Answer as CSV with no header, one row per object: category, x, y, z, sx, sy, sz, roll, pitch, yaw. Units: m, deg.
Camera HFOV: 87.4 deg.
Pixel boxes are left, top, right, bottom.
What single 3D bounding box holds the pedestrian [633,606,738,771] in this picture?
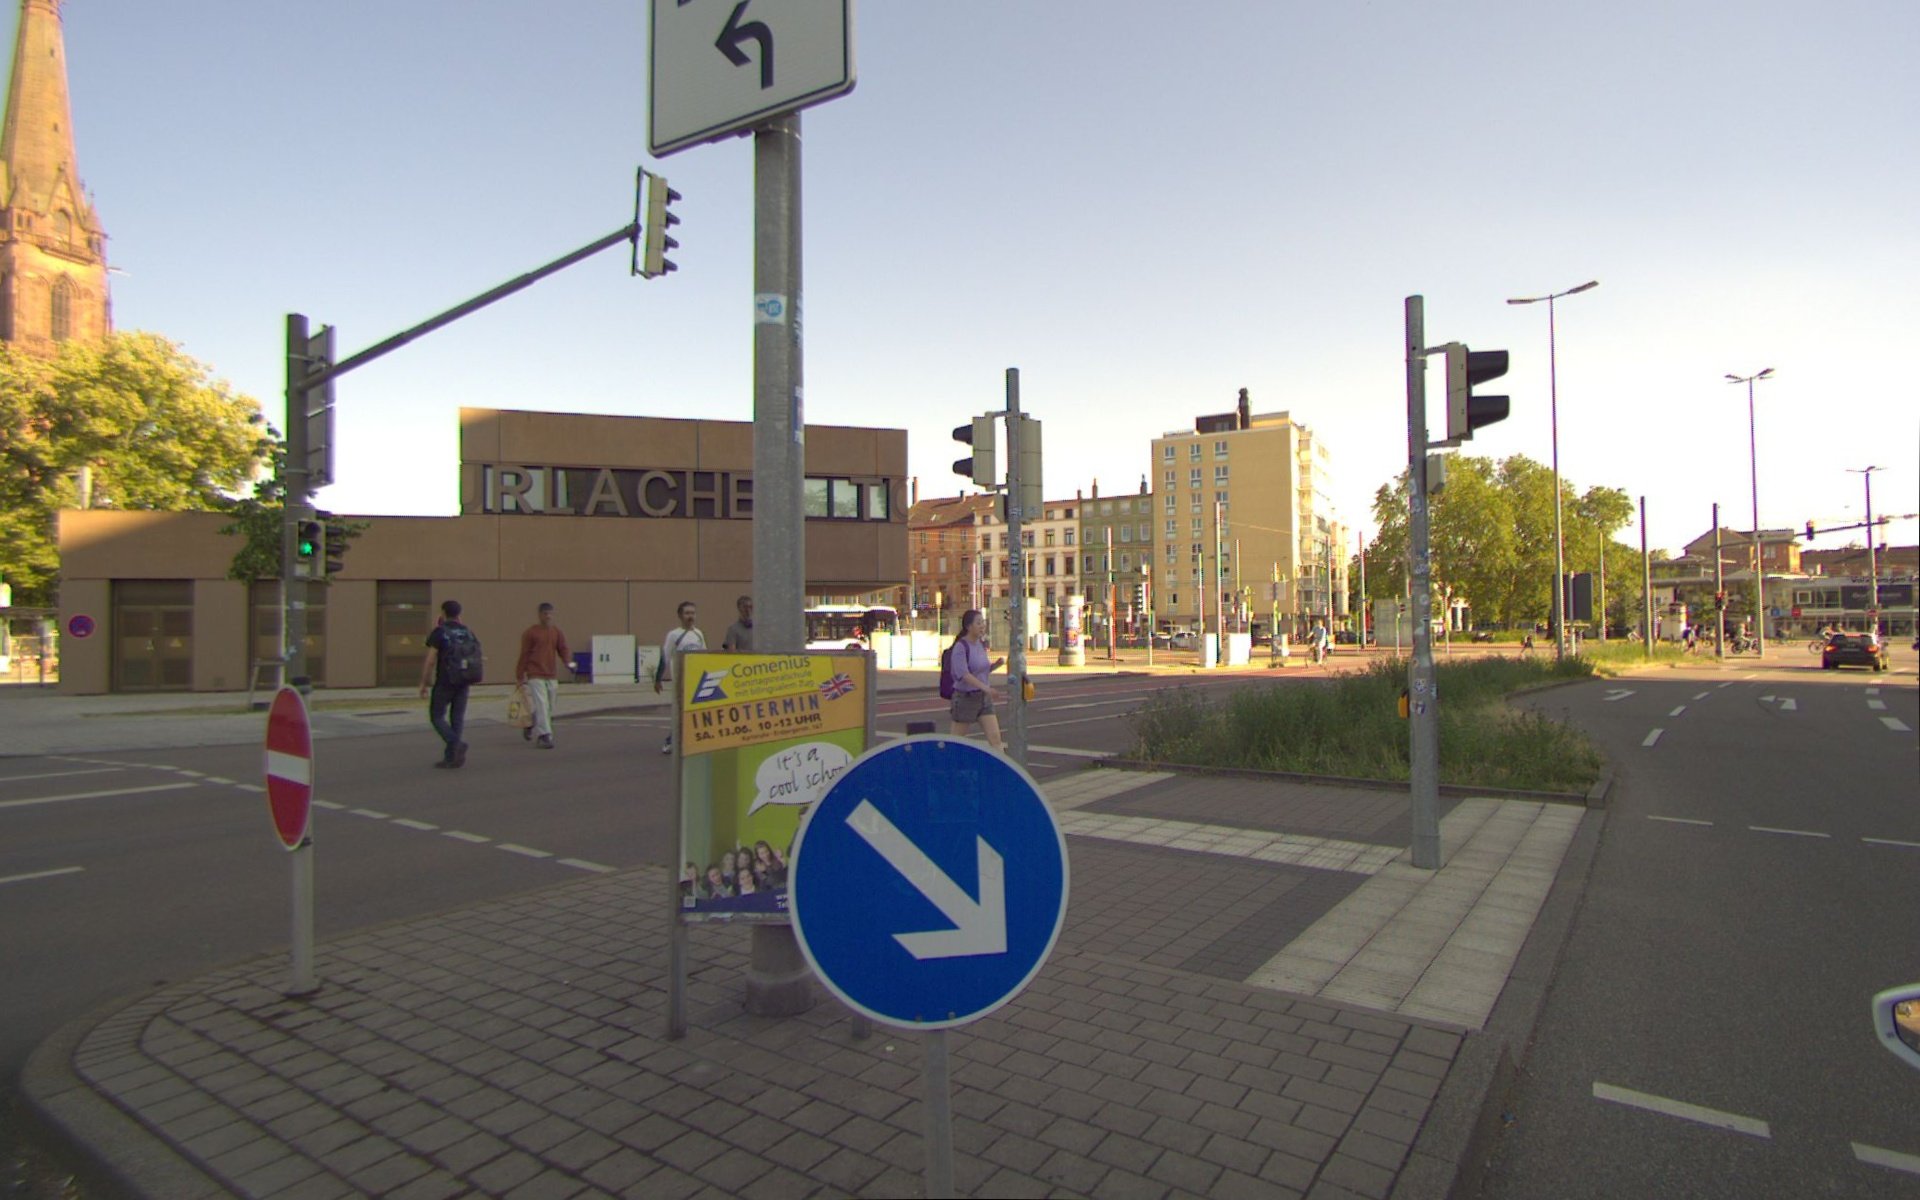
pedestrian,-3.102,0.969,11.343,0.913,1.764,0.754,-2,-2,37

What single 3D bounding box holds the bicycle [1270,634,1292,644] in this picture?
bicycle,33.660,4.087,105.282,2.012,1.104,0.776,-2,-2,29

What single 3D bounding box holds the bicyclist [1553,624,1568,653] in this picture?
bicyclist,37.527,2.398,62.745,0.734,1.713,0.859,-1,0,27

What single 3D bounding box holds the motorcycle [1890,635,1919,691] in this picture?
motorcycle,24.720,1.592,25.724,2.633,1.395,1.086,2,-2,-42

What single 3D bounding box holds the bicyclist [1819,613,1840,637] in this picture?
bicyclist,71.322,2.076,82.413,1.054,1.926,1.120,-1,0,30

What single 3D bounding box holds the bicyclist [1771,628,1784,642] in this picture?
bicyclist,66.627,2.850,81.873,0.703,1.158,0.835,-1,0,34

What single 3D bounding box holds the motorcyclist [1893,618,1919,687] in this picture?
motorcyclist,24.683,1.336,25.699,0.929,1.744,1.086,2,-2,-41

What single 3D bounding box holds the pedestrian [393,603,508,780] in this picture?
pedestrian,-5.213,0.902,10.285,0.886,1.707,0.745,-2,-2,37

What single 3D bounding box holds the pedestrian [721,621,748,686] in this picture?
pedestrian,-6.335,1.484,28.187,0.654,1.754,0.733,-1,0,-18

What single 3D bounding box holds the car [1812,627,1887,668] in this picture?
car,34.454,1.810,38.861,3.949,1.463,1.784,1,-1,-42

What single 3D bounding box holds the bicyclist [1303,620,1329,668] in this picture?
bicyclist,14.026,1.724,39.567,0.730,1.856,1.010,-1,-2,35

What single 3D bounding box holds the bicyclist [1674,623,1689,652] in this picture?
bicyclist,44.634,2.311,62.107,0.640,1.713,0.858,-1,0,30

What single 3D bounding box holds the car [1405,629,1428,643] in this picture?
car,51.319,4.010,112.842,1.821,1.471,3.991,-1,-2,31

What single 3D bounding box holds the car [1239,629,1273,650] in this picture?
car,29.043,3.826,98.788,1.818,1.882,3.996,-1,0,-6

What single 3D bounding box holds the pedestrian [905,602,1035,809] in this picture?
pedestrian,0.094,0.920,9.157,0.913,1.764,0.754,-2,-2,37

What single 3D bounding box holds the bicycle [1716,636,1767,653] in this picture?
bicycle,46.380,2.629,59.609,2.262,0.918,0.859,-1,0,29

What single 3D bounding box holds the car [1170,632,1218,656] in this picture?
car,20.594,3.848,88.401,3.679,2.040,1.997,-1,0,29

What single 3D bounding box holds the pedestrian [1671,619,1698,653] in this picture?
pedestrian,36.565,1.800,50.694,0.812,1.693,0.699,-1,-2,9

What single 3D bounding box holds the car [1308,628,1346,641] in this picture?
car,42.241,4.015,115.532,3.925,1.441,1.811,-1,-2,26

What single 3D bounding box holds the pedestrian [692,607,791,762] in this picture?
pedestrian,-2.612,0.979,12.004,0.913,1.764,0.754,-2,-2,37

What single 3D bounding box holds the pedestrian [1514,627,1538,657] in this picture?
pedestrian,31.593,2.332,56.086,1.079,1.628,0.696,-1,0,38

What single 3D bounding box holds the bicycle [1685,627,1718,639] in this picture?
bicycle,63.990,2.823,86.681,2.266,0.992,0.857,-1,0,37

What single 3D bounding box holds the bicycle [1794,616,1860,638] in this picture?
bicycle,71.162,2.217,82.497,3.929,1.712,1.137,-1,0,30

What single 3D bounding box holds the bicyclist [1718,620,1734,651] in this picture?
bicyclist,45.747,2.116,59.971,0.574,1.801,0.866,-1,-2,28

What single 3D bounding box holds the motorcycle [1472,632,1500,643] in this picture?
motorcycle,50.146,3.561,95.724,2.254,1.068,0.685,-1,0,35

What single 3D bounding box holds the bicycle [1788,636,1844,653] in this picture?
bicycle,48.213,2.513,56.600,2.264,0.918,0.858,-1,0,33

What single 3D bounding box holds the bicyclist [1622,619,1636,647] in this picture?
bicyclist,41.464,2.061,62.250,0.641,1.713,0.857,-1,0,36

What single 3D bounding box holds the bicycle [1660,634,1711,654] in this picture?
bicycle,44.765,2.721,62.027,2.457,1.148,0.858,-1,0,30

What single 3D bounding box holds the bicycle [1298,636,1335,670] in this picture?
bicycle,14.077,2.070,39.620,0.730,1.271,2.548,-1,-3,35

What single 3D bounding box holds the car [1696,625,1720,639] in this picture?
car,92.046,3.973,123.562,1.971,1.555,3.978,-1,0,42

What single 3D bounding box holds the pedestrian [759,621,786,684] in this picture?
pedestrian,-5.226,1.446,27.996,0.543,1.711,0.634,-1,0,-29

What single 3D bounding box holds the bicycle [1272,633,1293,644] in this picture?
bicycle,34.019,4.081,106.052,2.012,1.104,0.776,-2,-2,29

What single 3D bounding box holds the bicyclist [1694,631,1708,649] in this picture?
bicyclist,63.957,3.439,86.716,0.911,1.580,0.857,-1,0,36

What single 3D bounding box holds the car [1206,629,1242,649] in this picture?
car,26.223,3.889,100.046,1.808,1.771,3.989,-1,0,-13

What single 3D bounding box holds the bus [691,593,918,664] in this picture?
bus,-8.528,1.683,55.311,11.990,3.359,3.241,2,-6,-17

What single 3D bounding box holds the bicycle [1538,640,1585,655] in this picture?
bicycle,37.564,2.934,62.736,2.455,0.886,0.859,-1,0,27

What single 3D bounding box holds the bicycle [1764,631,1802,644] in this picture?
bicycle,66.906,3.079,81.676,2.266,0.972,0.857,-3,-1,35

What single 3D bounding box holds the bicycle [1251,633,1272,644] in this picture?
bicycle,32.116,4.118,107.129,2.012,1.104,0.776,-2,-2,29

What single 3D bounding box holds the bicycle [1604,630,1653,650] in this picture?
bicycle,41.446,2.460,62.269,2.461,1.148,0.857,-1,0,37

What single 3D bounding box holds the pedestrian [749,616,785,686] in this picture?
pedestrian,-5.208,1.356,27.117,0.634,1.860,0.709,-1,0,-42

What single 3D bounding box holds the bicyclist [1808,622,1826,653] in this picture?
bicyclist,48.243,2.084,56.573,0.640,1.713,0.858,-1,0,33

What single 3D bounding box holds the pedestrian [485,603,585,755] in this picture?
pedestrian,-5.193,0.938,12.290,0.913,1.764,0.784,-2,-2,37

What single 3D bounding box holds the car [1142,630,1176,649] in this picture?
car,20.493,4.014,103.527,2.050,1.742,4.002,-1,0,-11

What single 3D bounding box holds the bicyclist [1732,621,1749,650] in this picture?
bicyclist,46.313,2.100,59.635,0.639,1.713,0.859,-1,0,28
